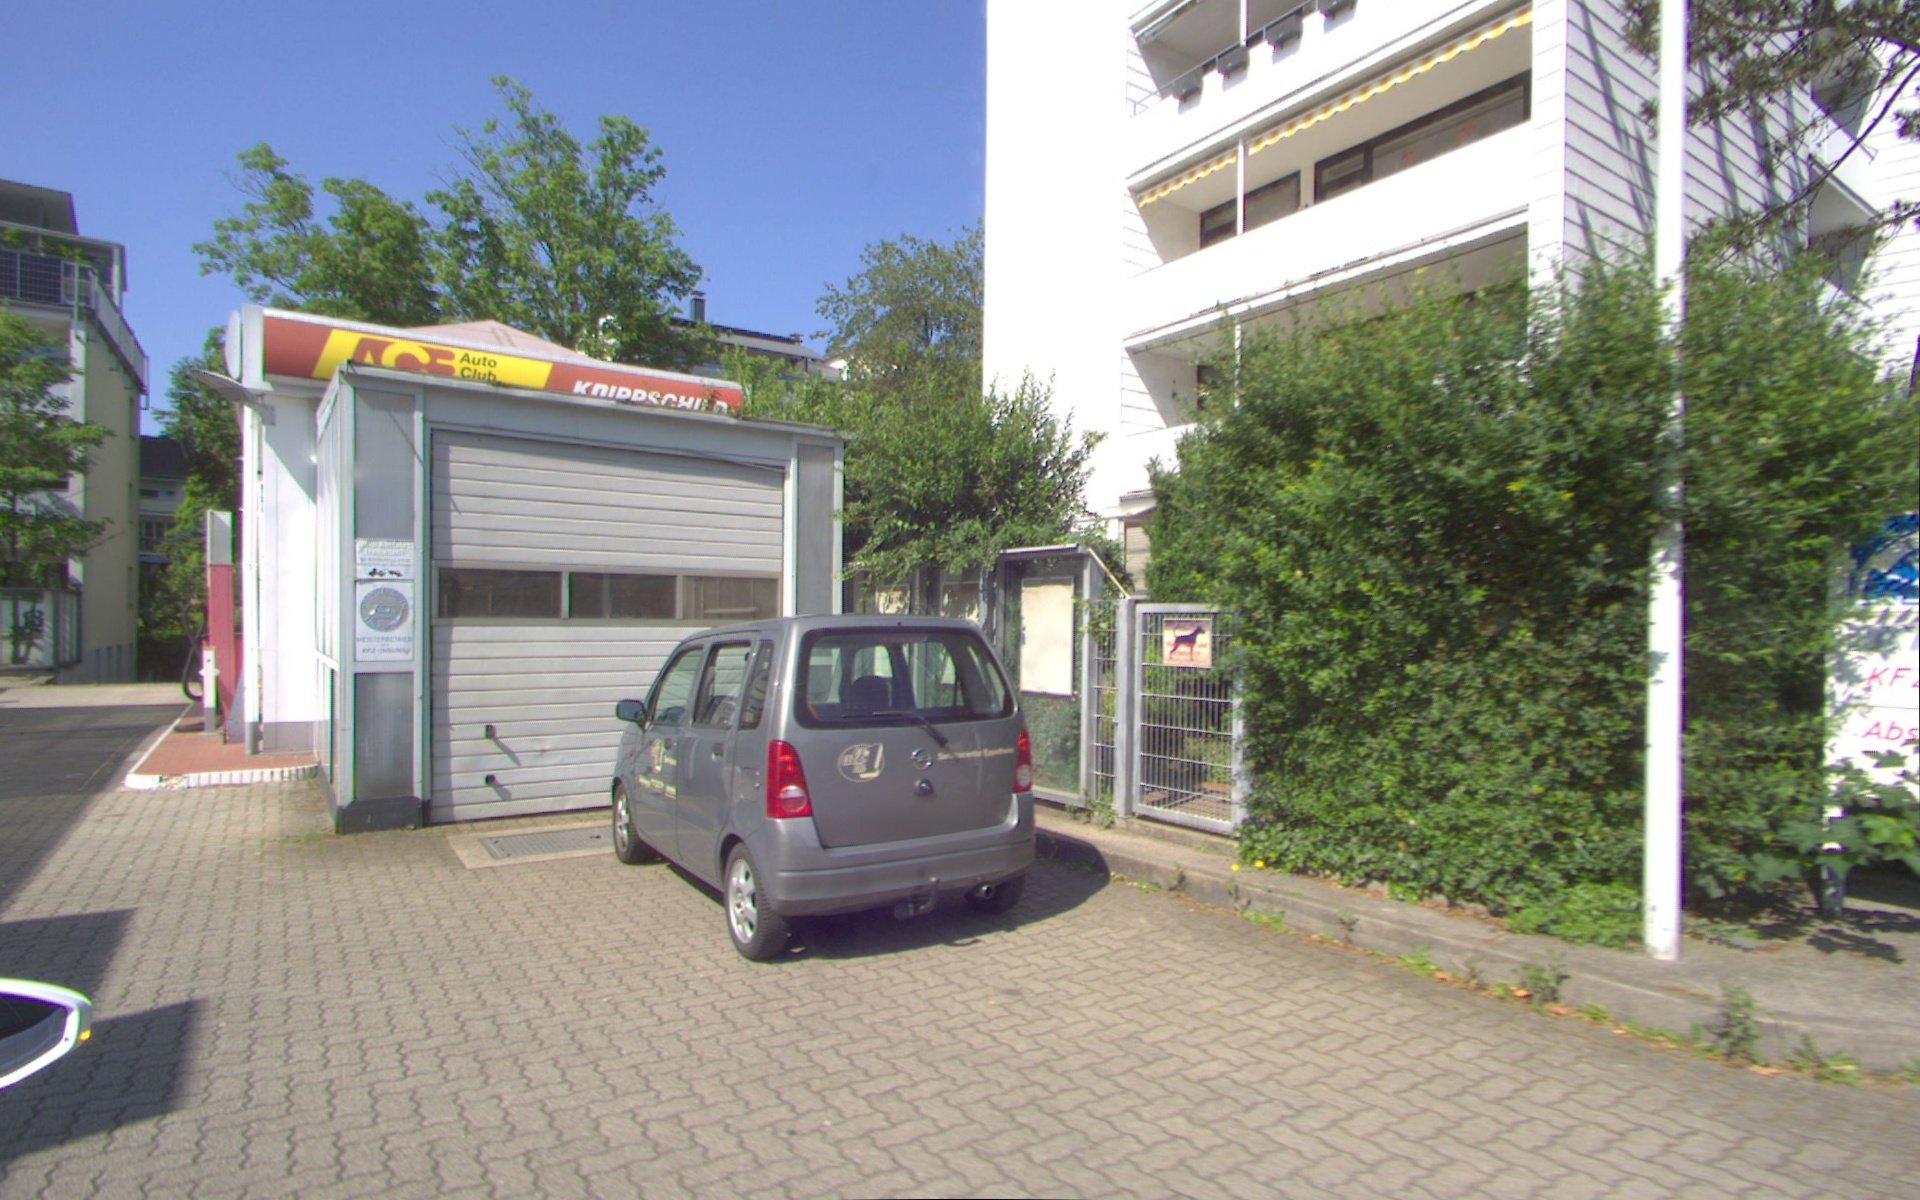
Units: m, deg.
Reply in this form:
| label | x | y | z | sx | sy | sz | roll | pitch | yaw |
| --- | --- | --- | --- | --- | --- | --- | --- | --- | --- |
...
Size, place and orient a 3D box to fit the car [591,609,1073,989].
| label | x | y | z | sx | sy | sz | roll | pitch | yaw |
| --- | --- | --- | --- | --- | --- | --- | --- | --- | --- |
| car | -1.071 | 0.932 | 6.328 | 1.669 | 1.637 | 3.642 | 1 | -2 | -32 |
